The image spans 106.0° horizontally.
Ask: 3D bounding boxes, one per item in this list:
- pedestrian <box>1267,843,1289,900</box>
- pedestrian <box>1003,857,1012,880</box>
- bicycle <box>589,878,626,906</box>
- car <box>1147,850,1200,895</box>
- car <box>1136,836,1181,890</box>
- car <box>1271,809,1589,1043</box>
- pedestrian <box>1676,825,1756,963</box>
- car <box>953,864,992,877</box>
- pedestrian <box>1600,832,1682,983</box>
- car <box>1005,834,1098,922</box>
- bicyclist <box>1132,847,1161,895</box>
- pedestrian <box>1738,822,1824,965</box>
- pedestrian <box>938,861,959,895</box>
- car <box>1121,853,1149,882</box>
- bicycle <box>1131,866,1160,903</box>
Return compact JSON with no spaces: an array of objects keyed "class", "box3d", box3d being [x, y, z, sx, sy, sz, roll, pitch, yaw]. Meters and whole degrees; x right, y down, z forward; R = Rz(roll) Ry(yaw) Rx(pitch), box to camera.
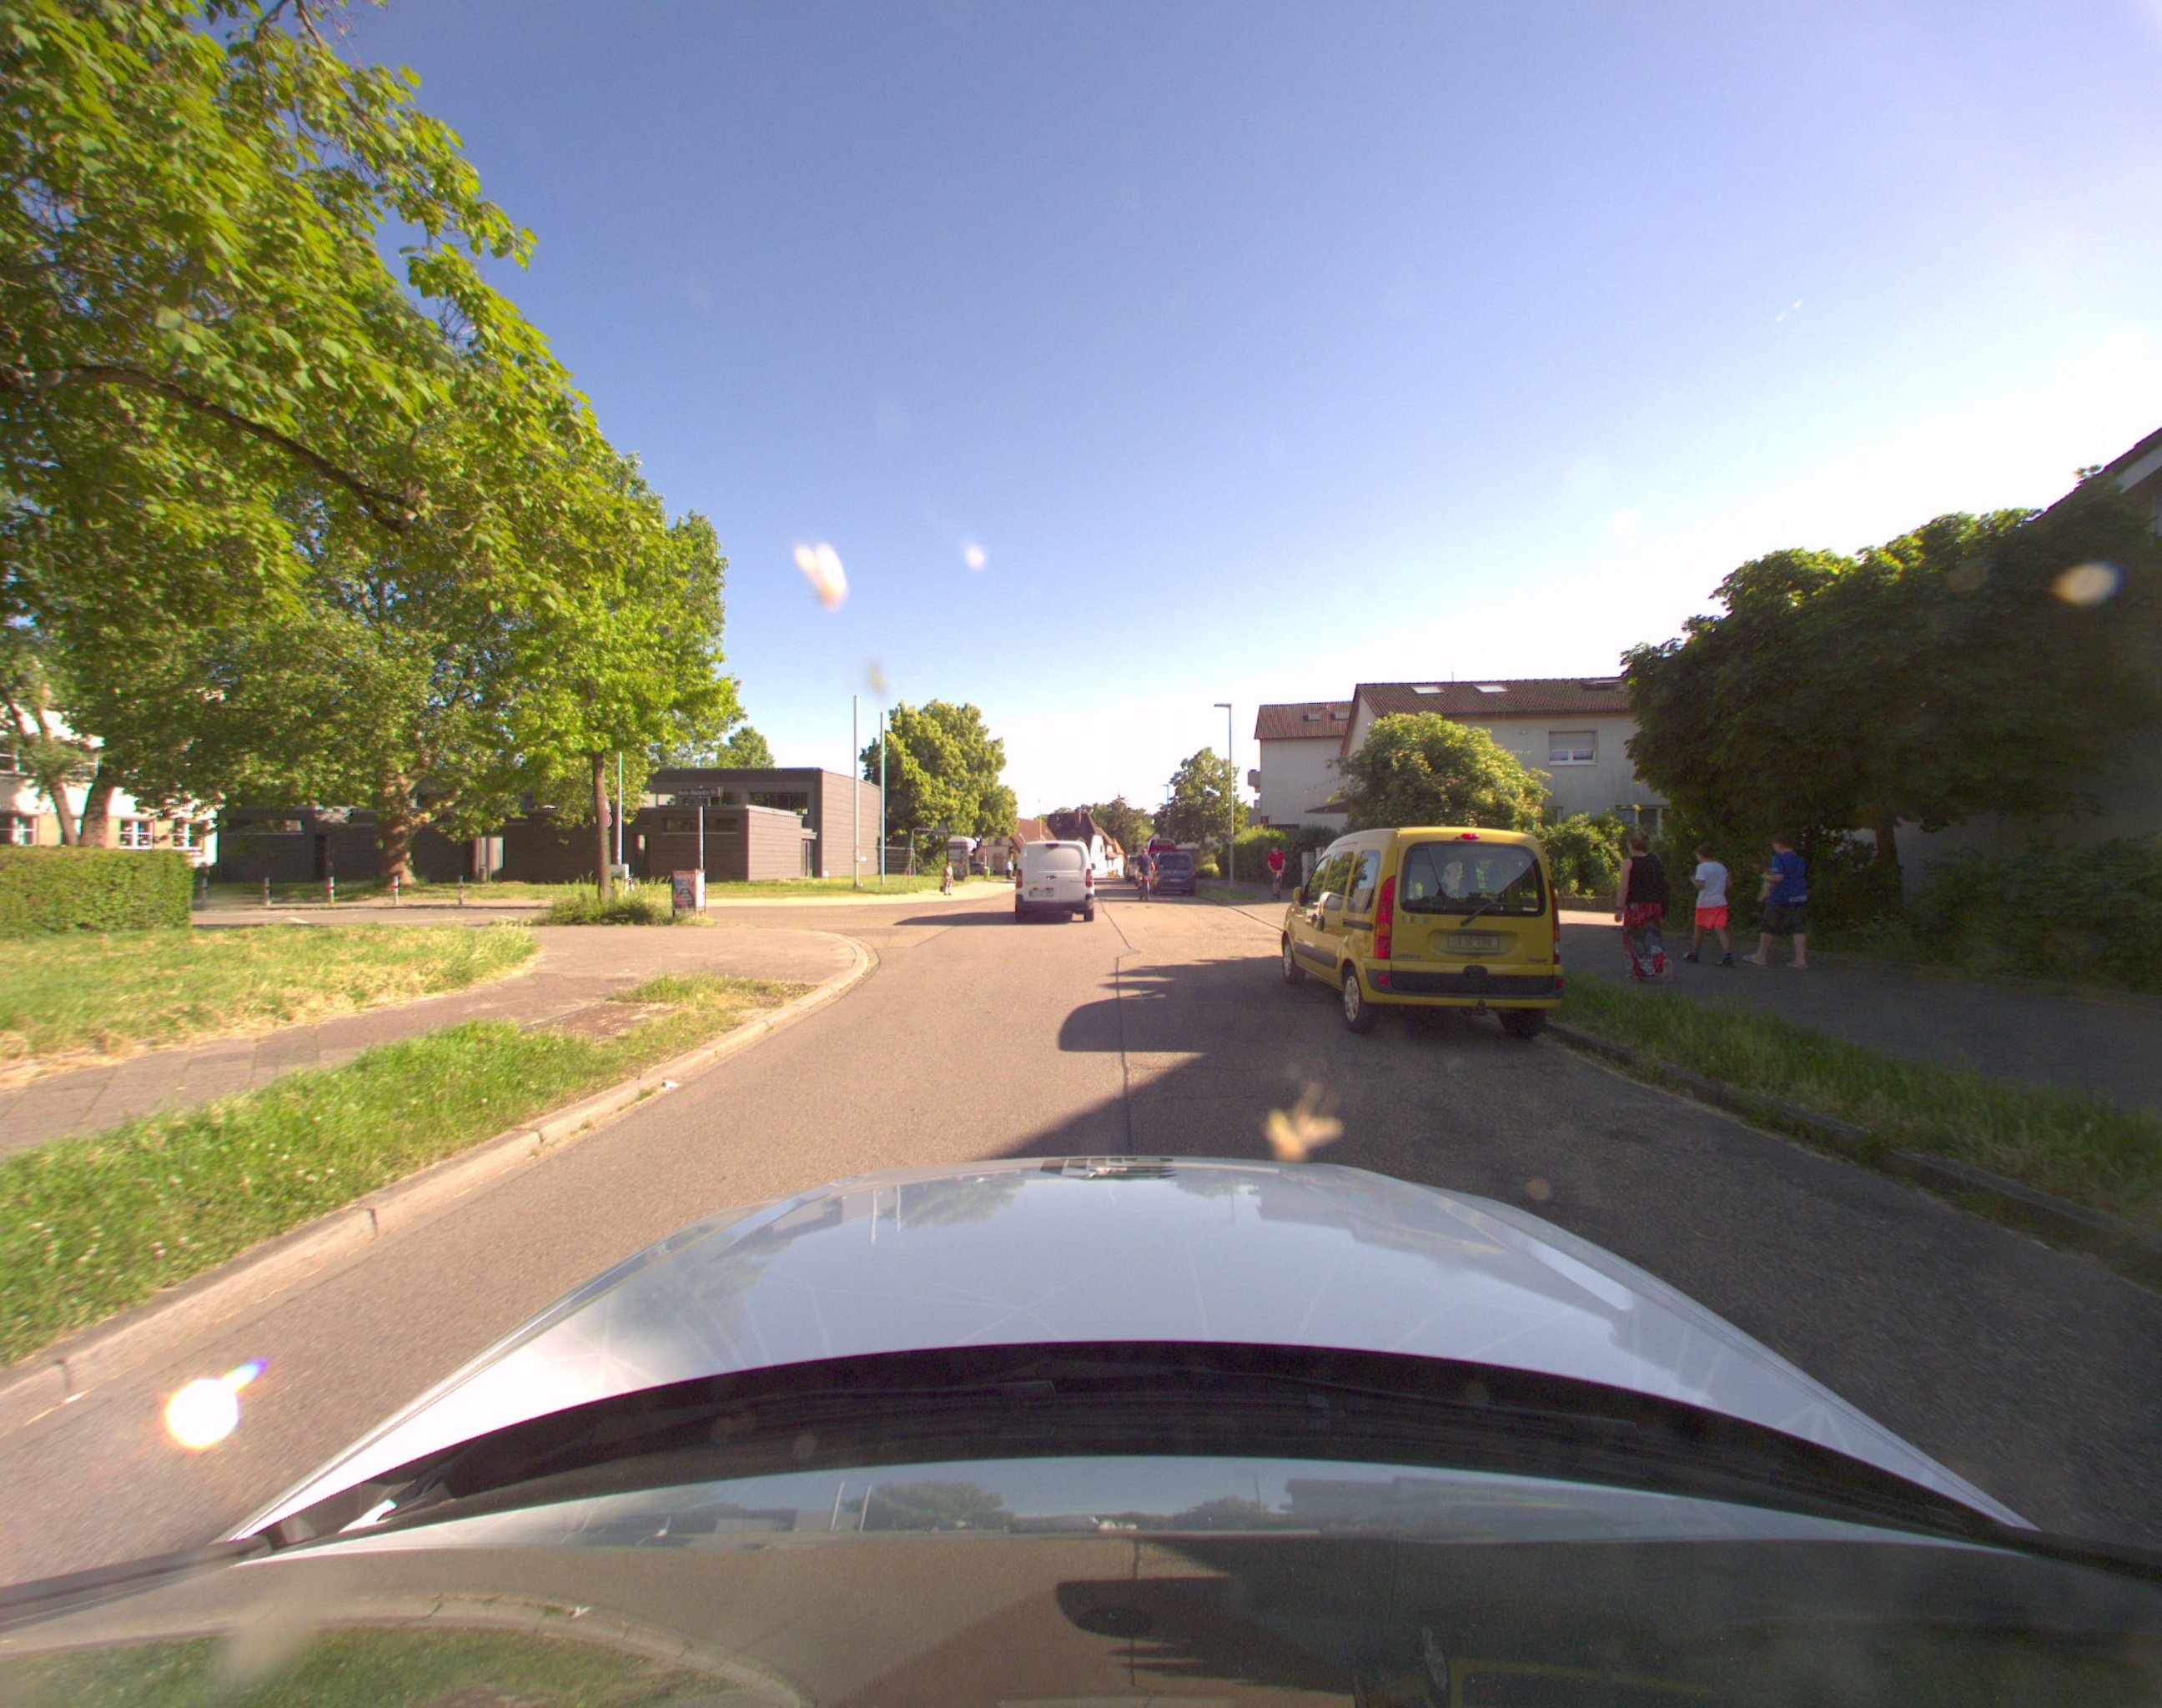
[{"class":"pedestrian","box3d":[6.462,0.558,26.723,0.482,1.831,0.486,-4,0,0]},{"class":"pedestrian","box3d":[-5.633,1.104,62.200,0.619,1.805,0.640,0,-2,0]},{"class":"bicycle","box3d":[-16.650,1.327,28.660,1.025,0.887,0.434,-2,1,-43]},{"class":"car","box3d":[3.890,0.790,34.983,1.798,1.785,3.999,2,-1,0]},{"class":"car","box3d":[3.954,0.479,42.152,1.860,2.562,4.766,2,-1,0]},{"class":"car","box3d":[3.209,0.577,8.416,1.717,1.837,4.002,0,-1,2]},{"class":"pedestrian","box3d":[7.730,0.477,9.938,0.564,1.637,0.547,0,0,6]},{"class":"car","box3d":[-12.080,1.867,91.022,3.944,1.429,1.724,0,-1,19]},{"class":"pedestrian","box3d":[6.286,0.582,9.162,0.564,1.637,0.547,0,0,6]},{"class":"car","box3d":[-0.689,0.523,19.707,1.988,1.882,4.286,0,0,-2]},{"class":"bicyclist","box3d":[2.182,0.572,27.417,0.902,1.584,0.966,0,-1,0]},{"class":"pedestrian","box3d":[8.284,0.457,9.655,0.564,1.637,0.547,0,0,6]},{"class":"pedestrian","box3d":[-5.717,1.037,35.203,0.505,1.446,0.643,2,0,34]},{"class":"car","box3d":[4.017,1.046,61.266,1.798,2.069,3.999,2,-1,0]},{"class":"bicycle","box3d":[2.152,0.993,27.458,0.784,1.138,2.279,1,0,0]}]
